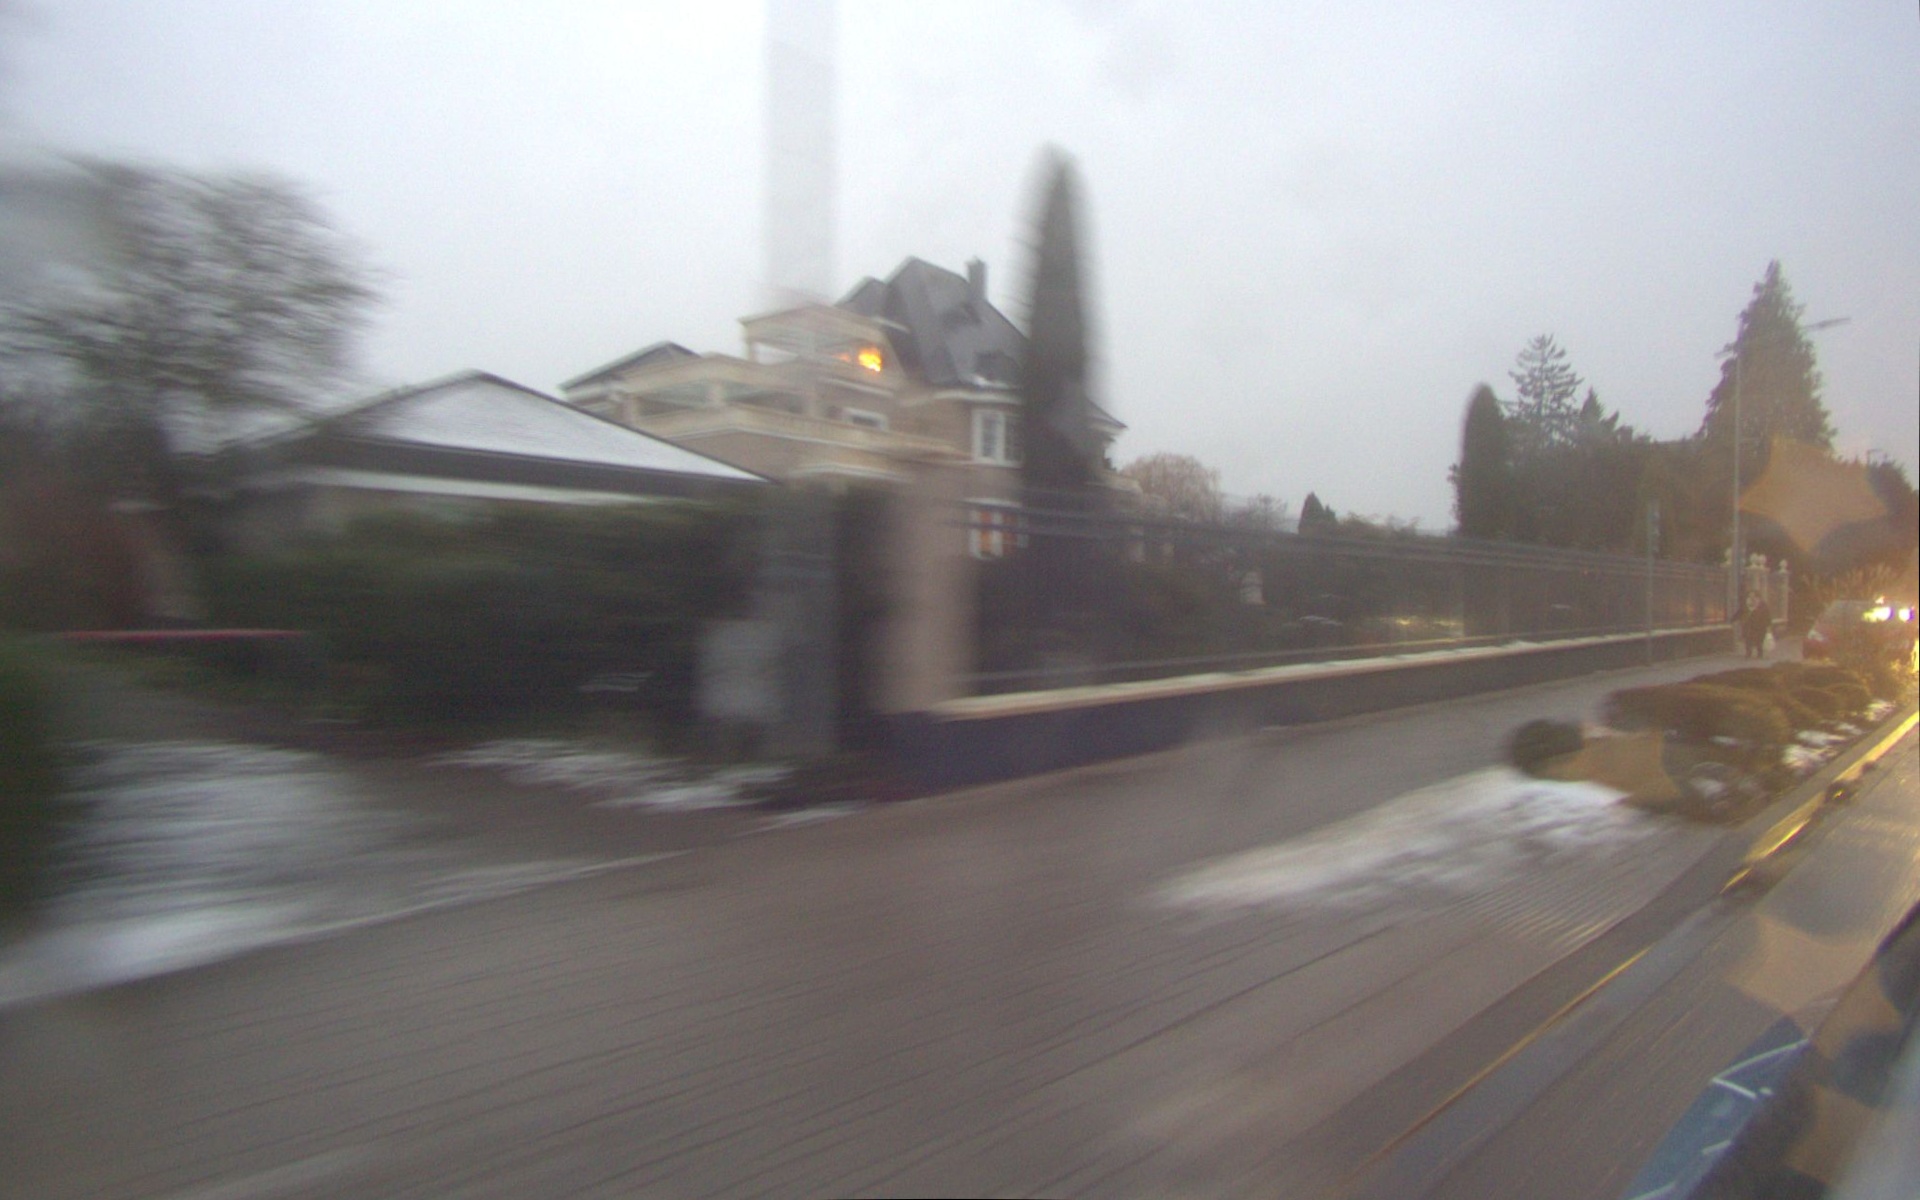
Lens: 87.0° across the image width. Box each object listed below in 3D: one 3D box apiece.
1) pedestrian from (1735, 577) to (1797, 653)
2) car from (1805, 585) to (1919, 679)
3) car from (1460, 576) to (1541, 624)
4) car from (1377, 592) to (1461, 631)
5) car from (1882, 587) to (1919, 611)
[{"bbox_3d":[19.589,0.355,24.595,1.038,1.763,0.988,0,2,-44],"label":"pedestrian"},{"bbox_3d":[17.922,0.557,19.763,3.333,1.558,1.652,0,5,-43],"label":"car"},{"bbox_3d":[20.424,-0.056,38.174,1.938,1.683,4.170,2,2,39],"label":"car"},{"bbox_3d":[17.851,0.418,39.278,1.805,1.392,3.937,2,2,43],"label":"car"},{"bbox_3d":[68.008,-0.104,73.044,1.766,1.638,3.822,0,1,36],"label":"car"}]
